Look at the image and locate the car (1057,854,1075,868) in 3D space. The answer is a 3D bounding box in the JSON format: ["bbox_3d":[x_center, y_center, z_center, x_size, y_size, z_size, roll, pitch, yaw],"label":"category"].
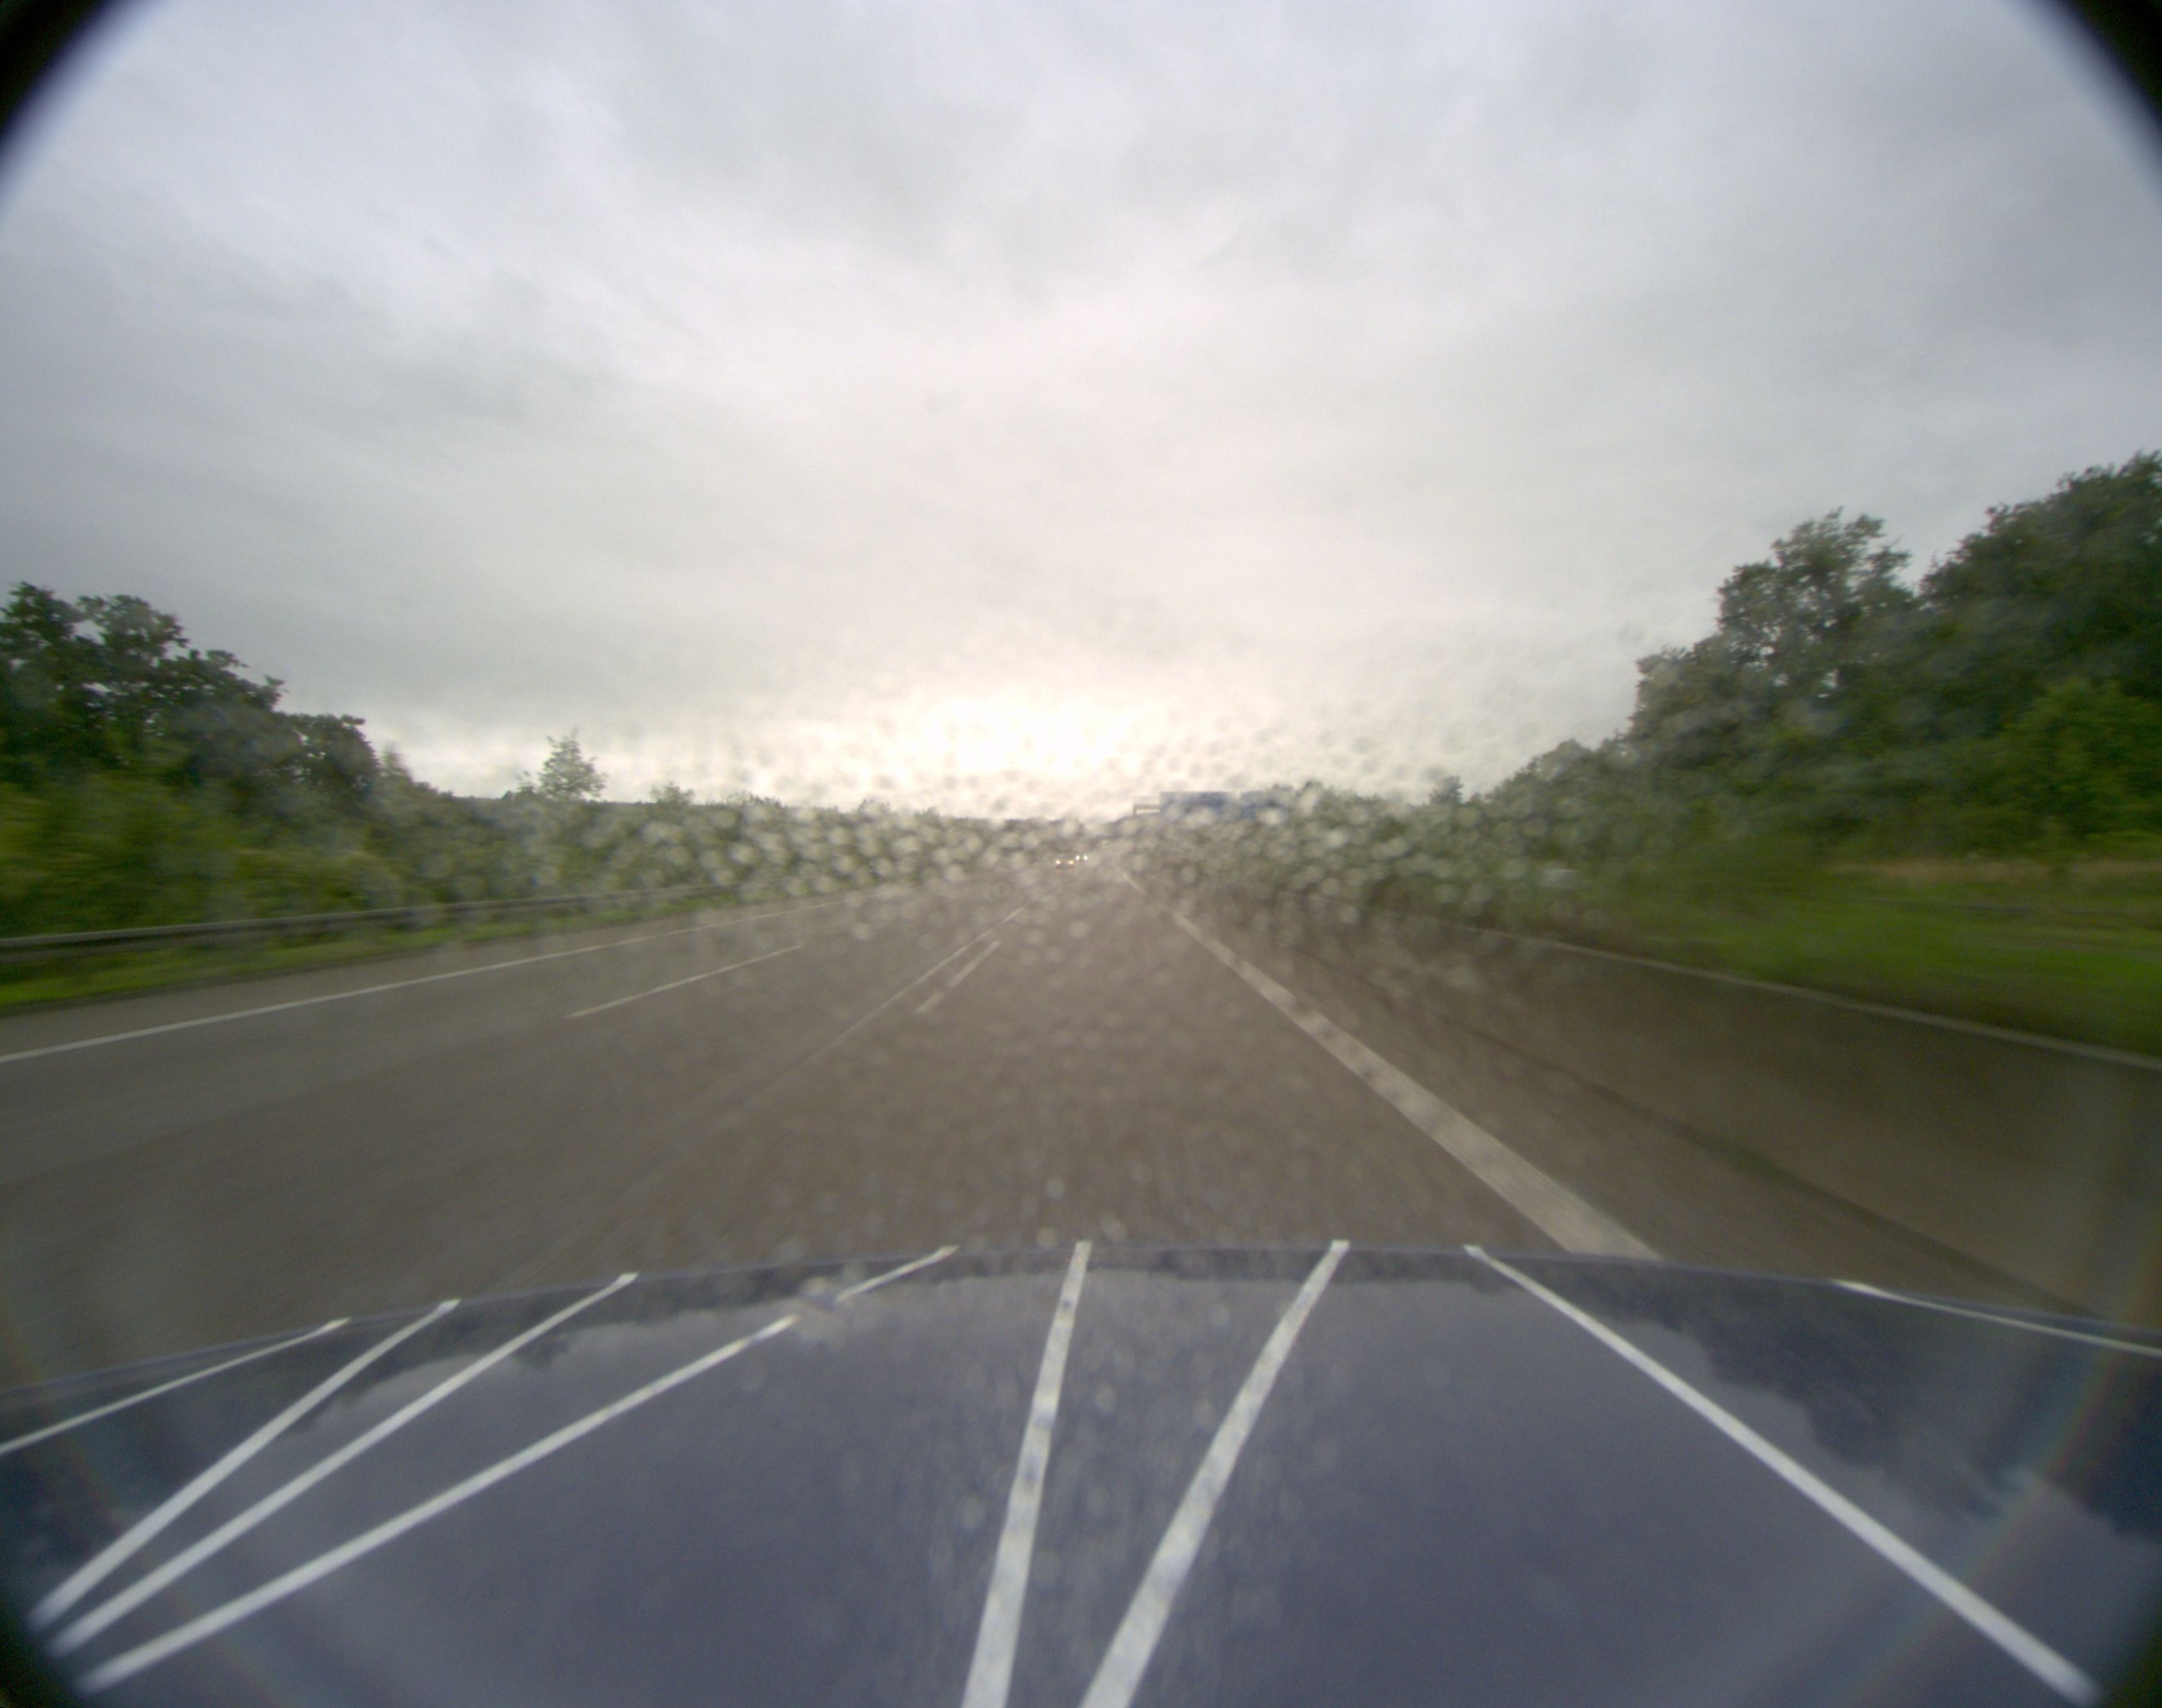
[{"bbox_3d":[-1.628,0.732,84.008,1.932,1.521,4.297,0,0,1],"label":"car"}]

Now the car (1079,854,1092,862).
[{"bbox_3d":[0.768,0.688,139.270,2.008,1.456,4.001,1,1,5],"label":"car"}]

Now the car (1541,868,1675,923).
[{"bbox_3d":[15.788,1.189,23.000,1.664,1.477,3.476,0,0,1],"label":"car"}]
